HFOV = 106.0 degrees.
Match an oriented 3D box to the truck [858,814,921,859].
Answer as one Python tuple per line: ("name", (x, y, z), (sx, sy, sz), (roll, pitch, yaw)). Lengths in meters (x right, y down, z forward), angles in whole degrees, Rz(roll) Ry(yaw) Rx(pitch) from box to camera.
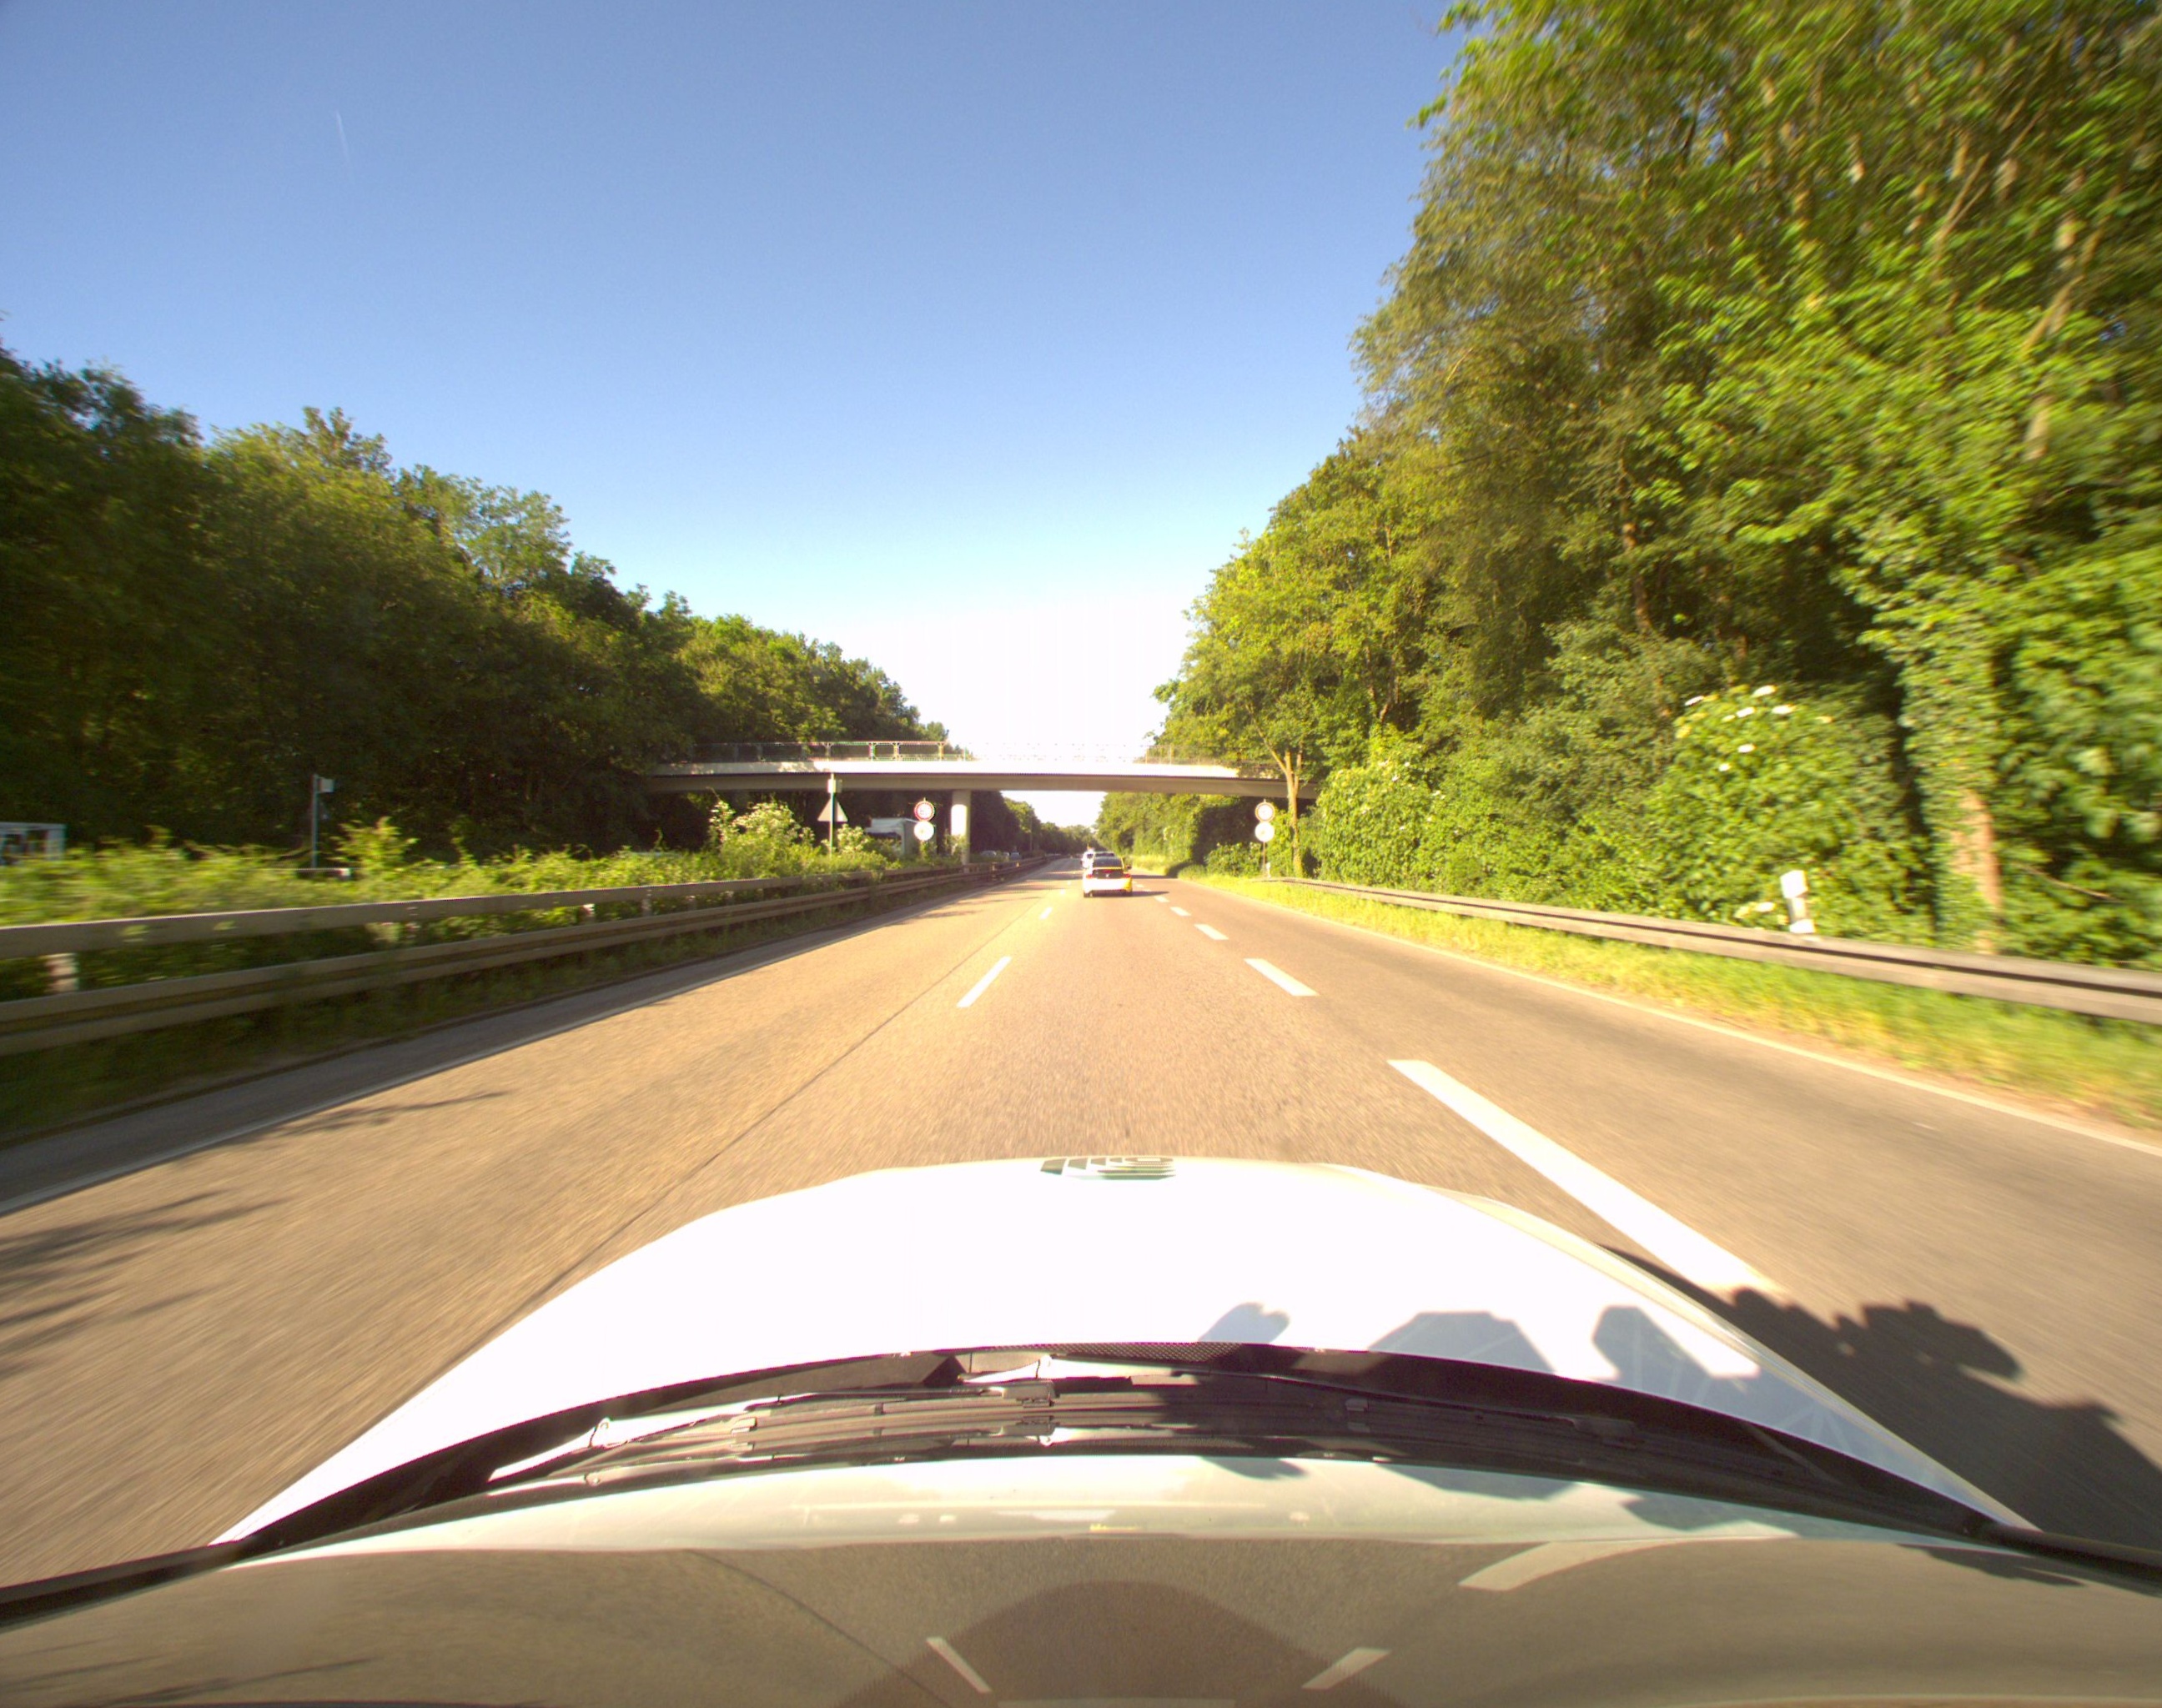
("truck", (-14.394, -1.221, 61.693), (2.919, 3.168, 7.084), (-1, 0, 1))

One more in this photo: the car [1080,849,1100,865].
("car", (0.905, 0.306, 81.572), (1.933, 1.545, 3.422), (-1, 0, 0))

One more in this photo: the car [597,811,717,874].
("car", (-14.631, -0.358, 28.368), (1.986, 2.014, 4.001), (-1, 0, 1))

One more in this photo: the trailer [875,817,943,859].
("trailer", (-14.244, -1.180, 68.551), (2.919, 3.168, 11.917), (-1, 0, 1))

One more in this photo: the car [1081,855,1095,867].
("car", (1.062, 1.109, 123.398), (1.987, 1.750, 4.372), (-1, 0, 0))

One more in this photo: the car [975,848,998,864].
("car", (-10.515, 0.213, 91.162), (1.987, 1.687, 4.740), (0, 0, 0))

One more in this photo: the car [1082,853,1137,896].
("car", (1.112, 0.723, 30.582), (1.931, 1.508, 3.425), (0, 0, 3))

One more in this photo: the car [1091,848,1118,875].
("car", (1.653, 0.518, 58.329), (1.736, 1.830, 3.422), (2, 0, 0))
